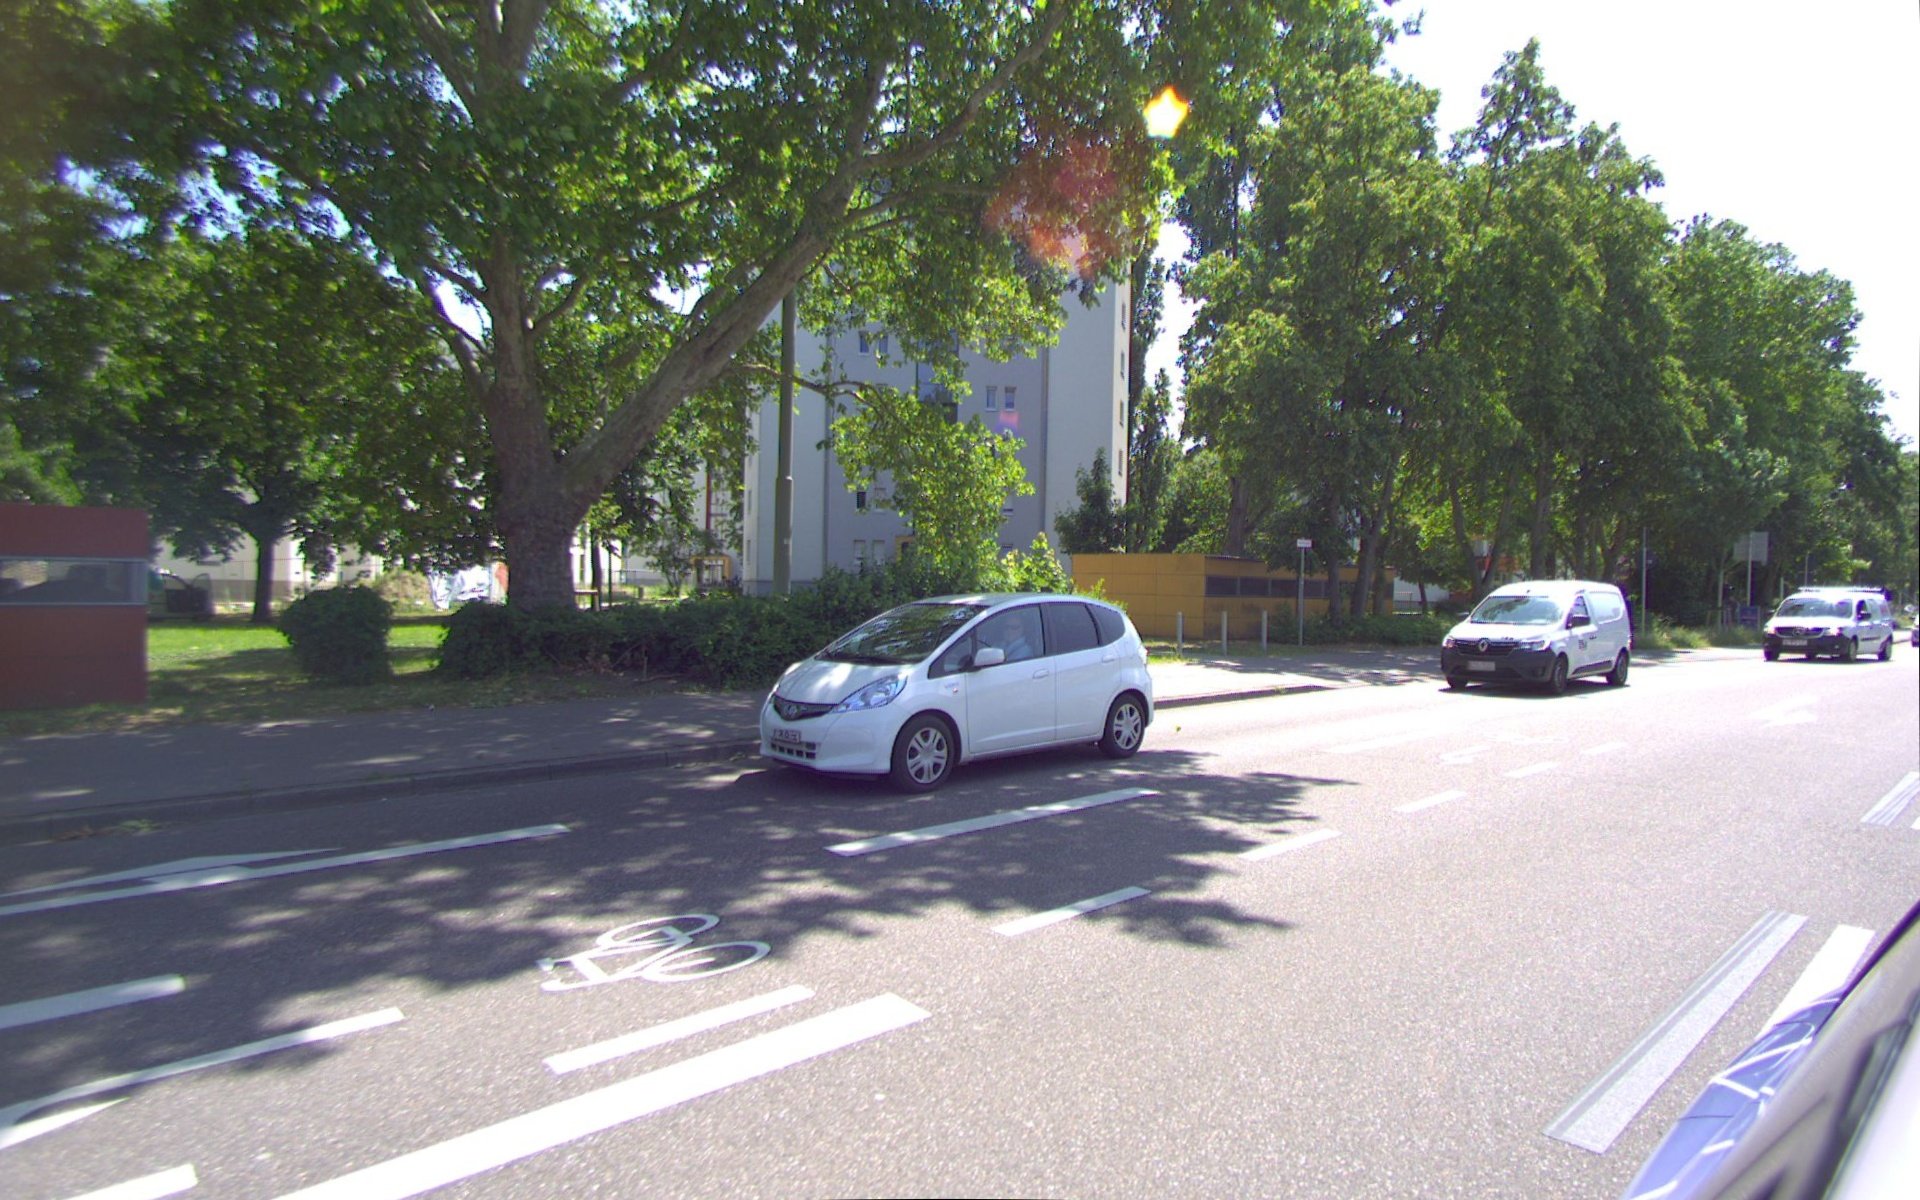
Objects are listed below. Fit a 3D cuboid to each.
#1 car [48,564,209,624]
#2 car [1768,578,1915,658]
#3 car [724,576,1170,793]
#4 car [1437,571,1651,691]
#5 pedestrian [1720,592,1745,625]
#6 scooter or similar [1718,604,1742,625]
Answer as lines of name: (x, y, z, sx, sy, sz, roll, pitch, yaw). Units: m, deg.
car: (-25.094, -0.165, 30.731, 1.709, 1.723, 3.746, 0, 0, 3)
car: (22.574, 0.431, 25.864, 4.987, 1.879, 1.810, 0, 0, -37)
car: (0.030, 0.596, 8.981, 3.812, 1.507, 1.722, 0, 0, -43)
car: (9.909, 0.464, 17.047, 4.348, 1.769, 1.713, 0, -1, -40)
pedestrian: (34.277, 0.369, 44.907, 0.749, 1.416, 0.709, 1, -1, -40)
scooter or similar: (33.959, 0.624, 44.648, 0.749, 0.904, 0.709, 0, -1, -40)
